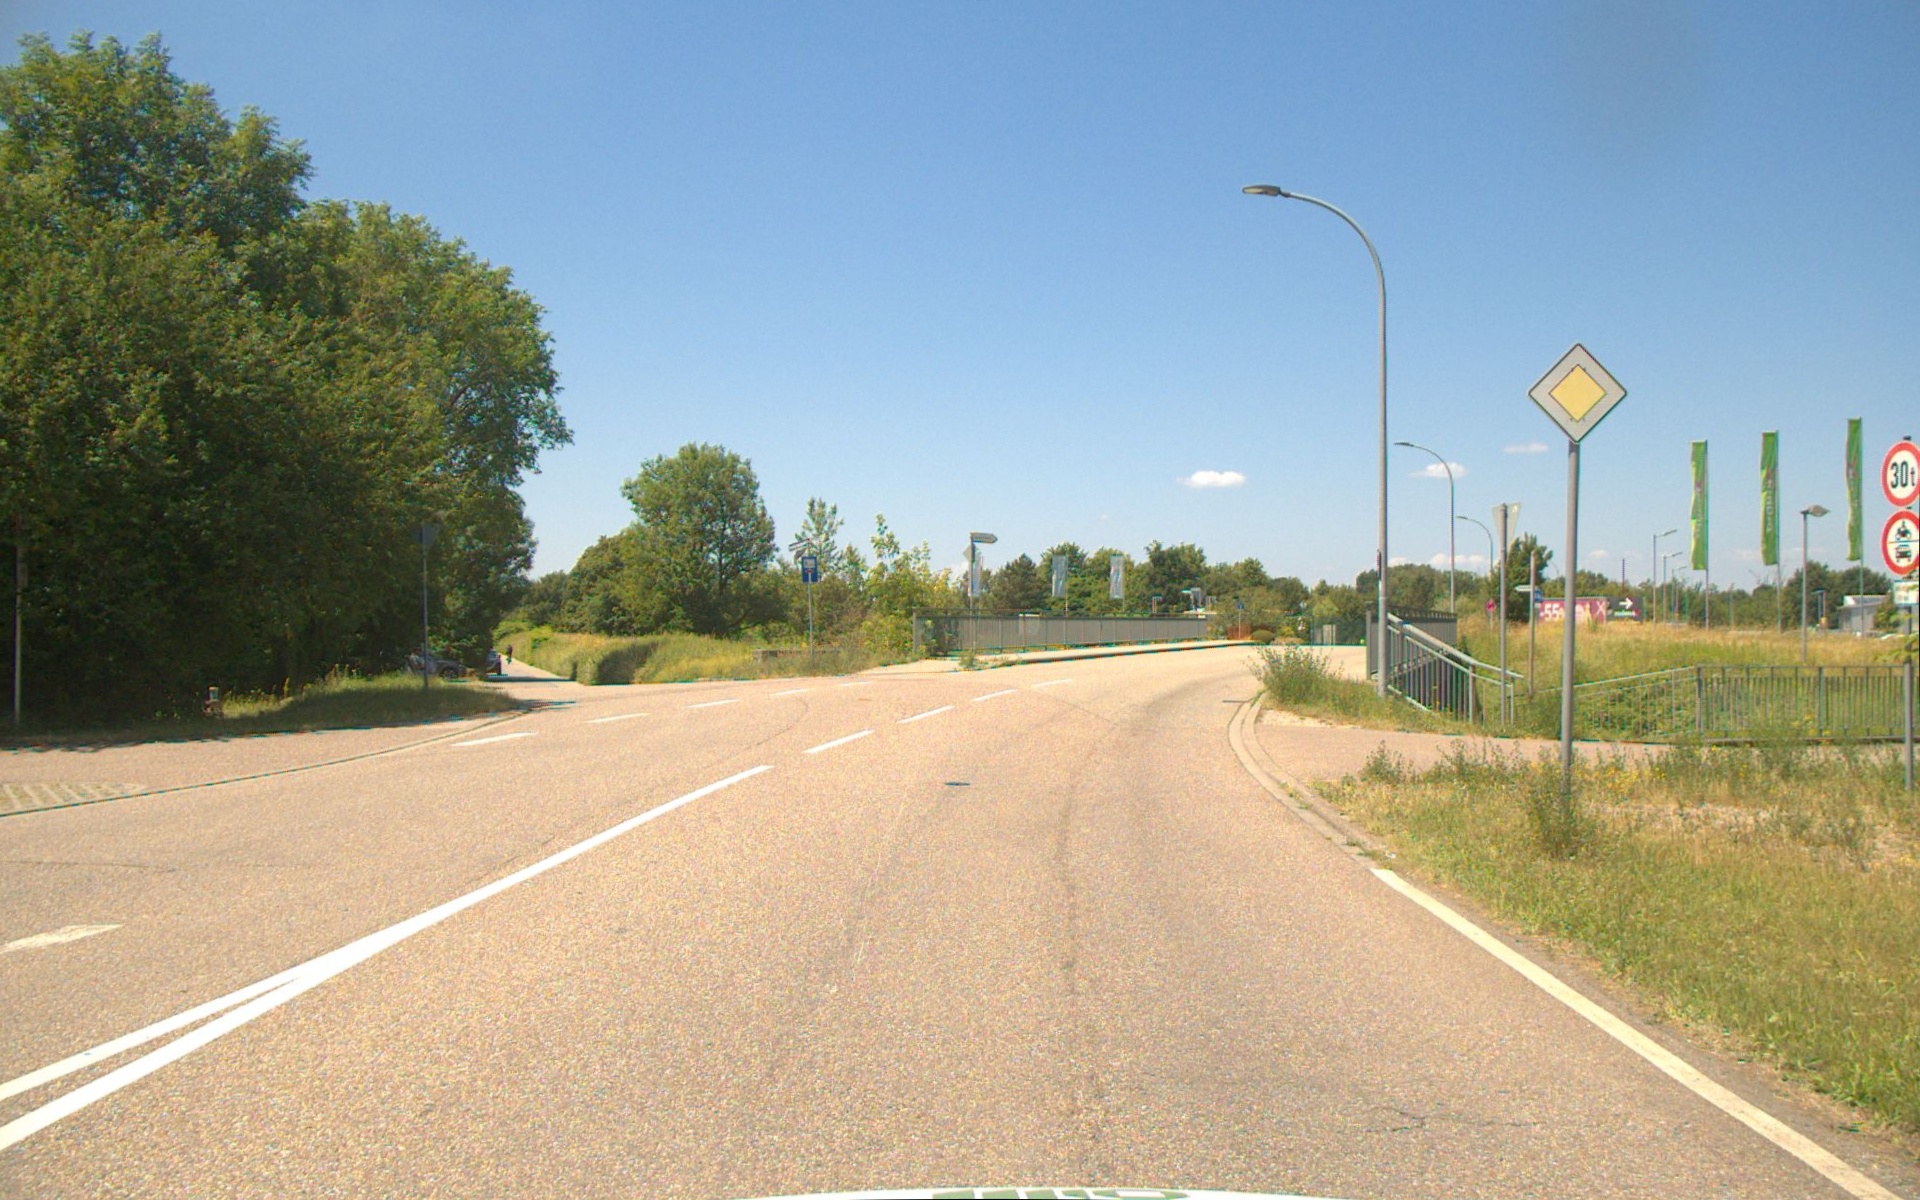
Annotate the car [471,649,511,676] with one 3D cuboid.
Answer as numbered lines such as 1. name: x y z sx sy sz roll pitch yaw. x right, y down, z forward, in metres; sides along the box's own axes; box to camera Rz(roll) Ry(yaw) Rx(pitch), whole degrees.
1. car: -29.976 3.990 105.721 1.967 1.624 3.971 -1 -1 -23

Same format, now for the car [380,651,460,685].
1. car: -28.443 3.568 87.055 3.930 1.598 1.987 -1 -1 -21

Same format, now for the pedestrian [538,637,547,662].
1. pedestrian: -34.210 4.047 135.547 0.603 2.049 0.621 -1 -1 -23
